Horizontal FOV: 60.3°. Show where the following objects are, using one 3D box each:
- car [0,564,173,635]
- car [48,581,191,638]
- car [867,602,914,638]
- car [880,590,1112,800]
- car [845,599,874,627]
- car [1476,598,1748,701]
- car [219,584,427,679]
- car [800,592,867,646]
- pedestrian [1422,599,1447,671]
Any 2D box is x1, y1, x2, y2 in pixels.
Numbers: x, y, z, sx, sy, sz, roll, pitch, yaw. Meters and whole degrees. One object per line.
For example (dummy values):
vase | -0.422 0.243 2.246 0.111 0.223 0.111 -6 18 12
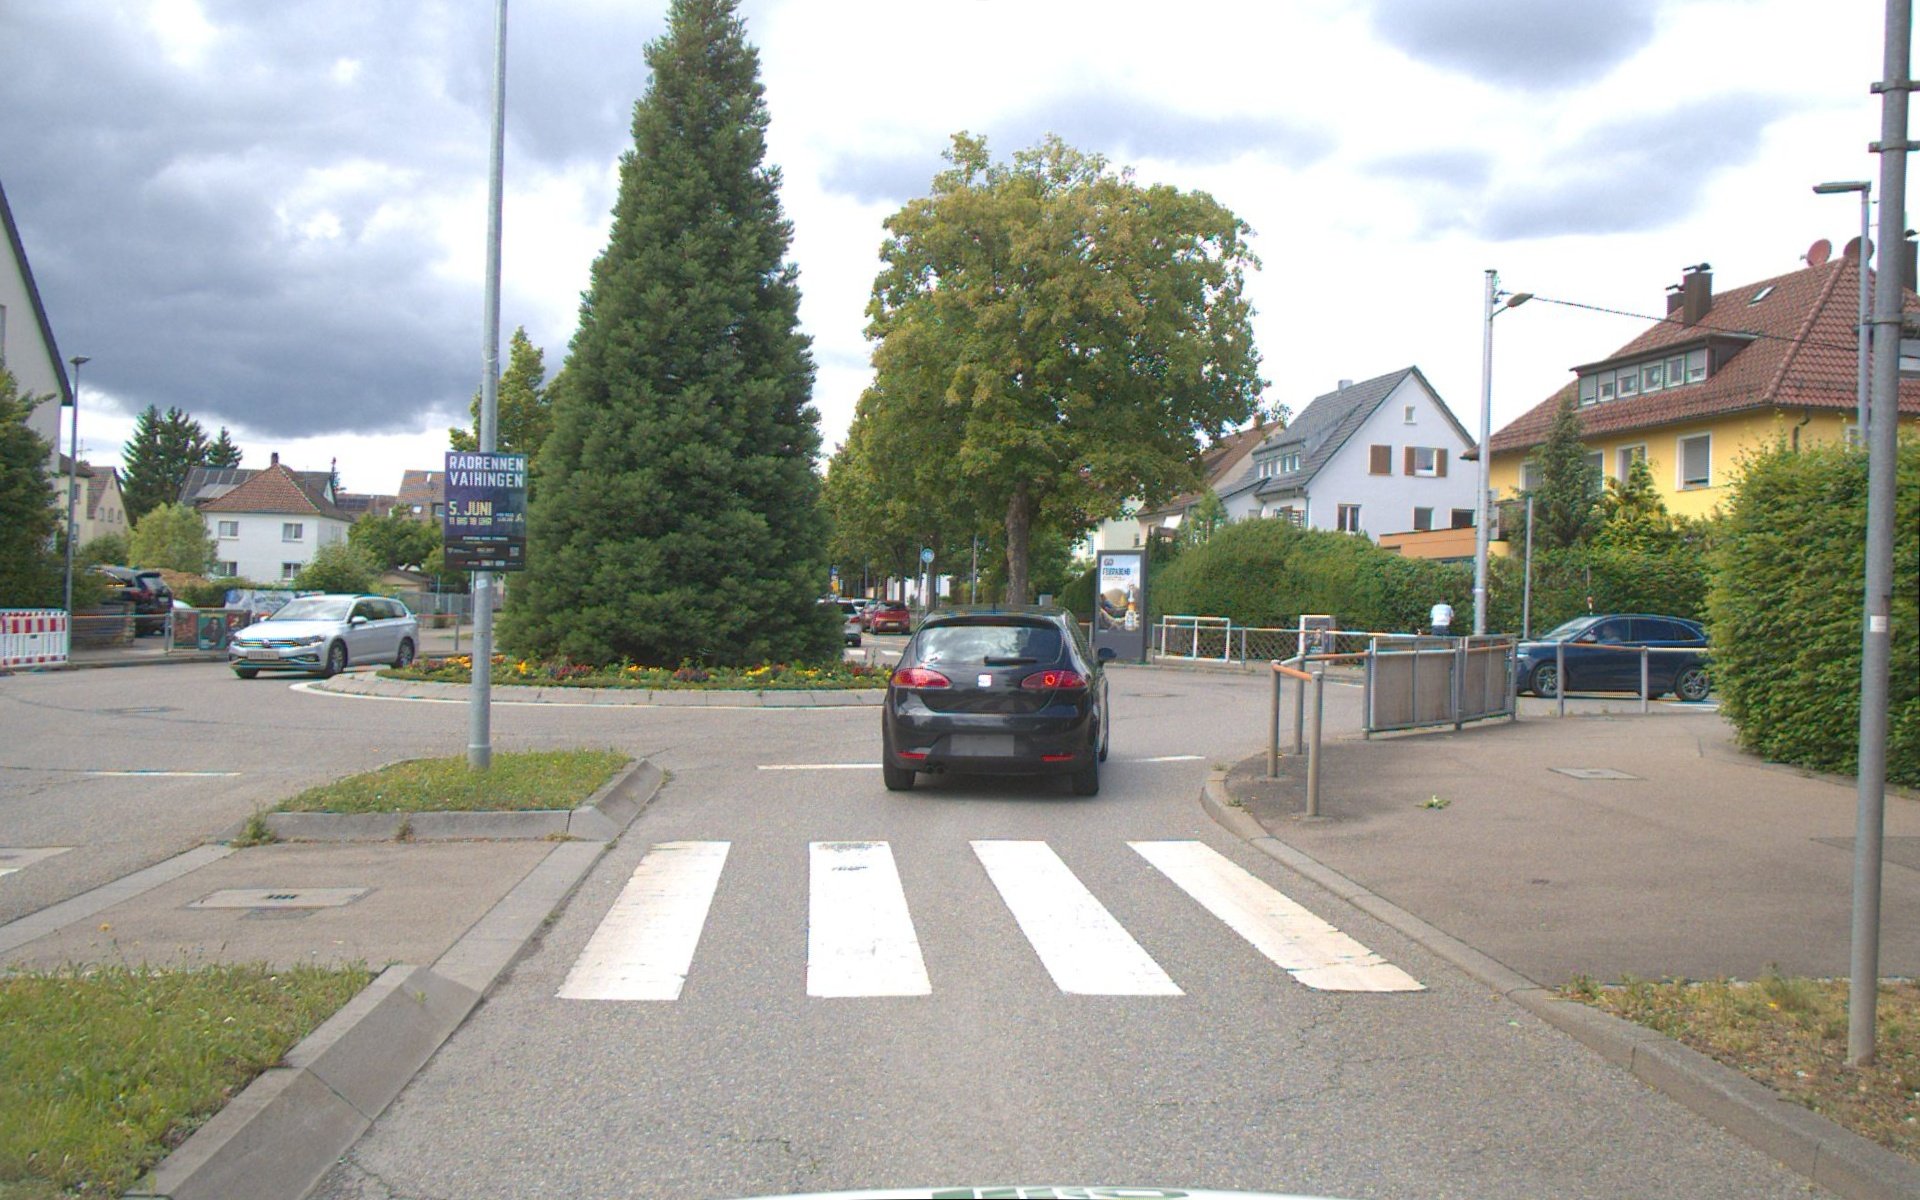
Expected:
car | -21.240 -0.009 40.123 3.515 1.639 1.600 1 0 0
car | -21.775 0.242 42.903 2.979 1.406 1.339 1 0 0
car | -3.057 0.846 72.671 1.449 1.515 3.370 1 0 -13
car | 0.433 0.701 14.179 1.695 1.512 4.002 1 0 5
car | -5.722 0.723 93.990 1.564 1.537 3.596 1 0 -5
car | 11.862 0.889 30.229 4.310 1.690 1.649 2 0 -3
car | -11.581 0.543 30.388 1.829 1.588 4.262 1 0 6
car | -4.100 0.589 53.141 1.955 1.641 3.994 2 0 -7
pedestrian | 10.371 0.766 36.150 0.480 1.560 0.485 1 0 19
